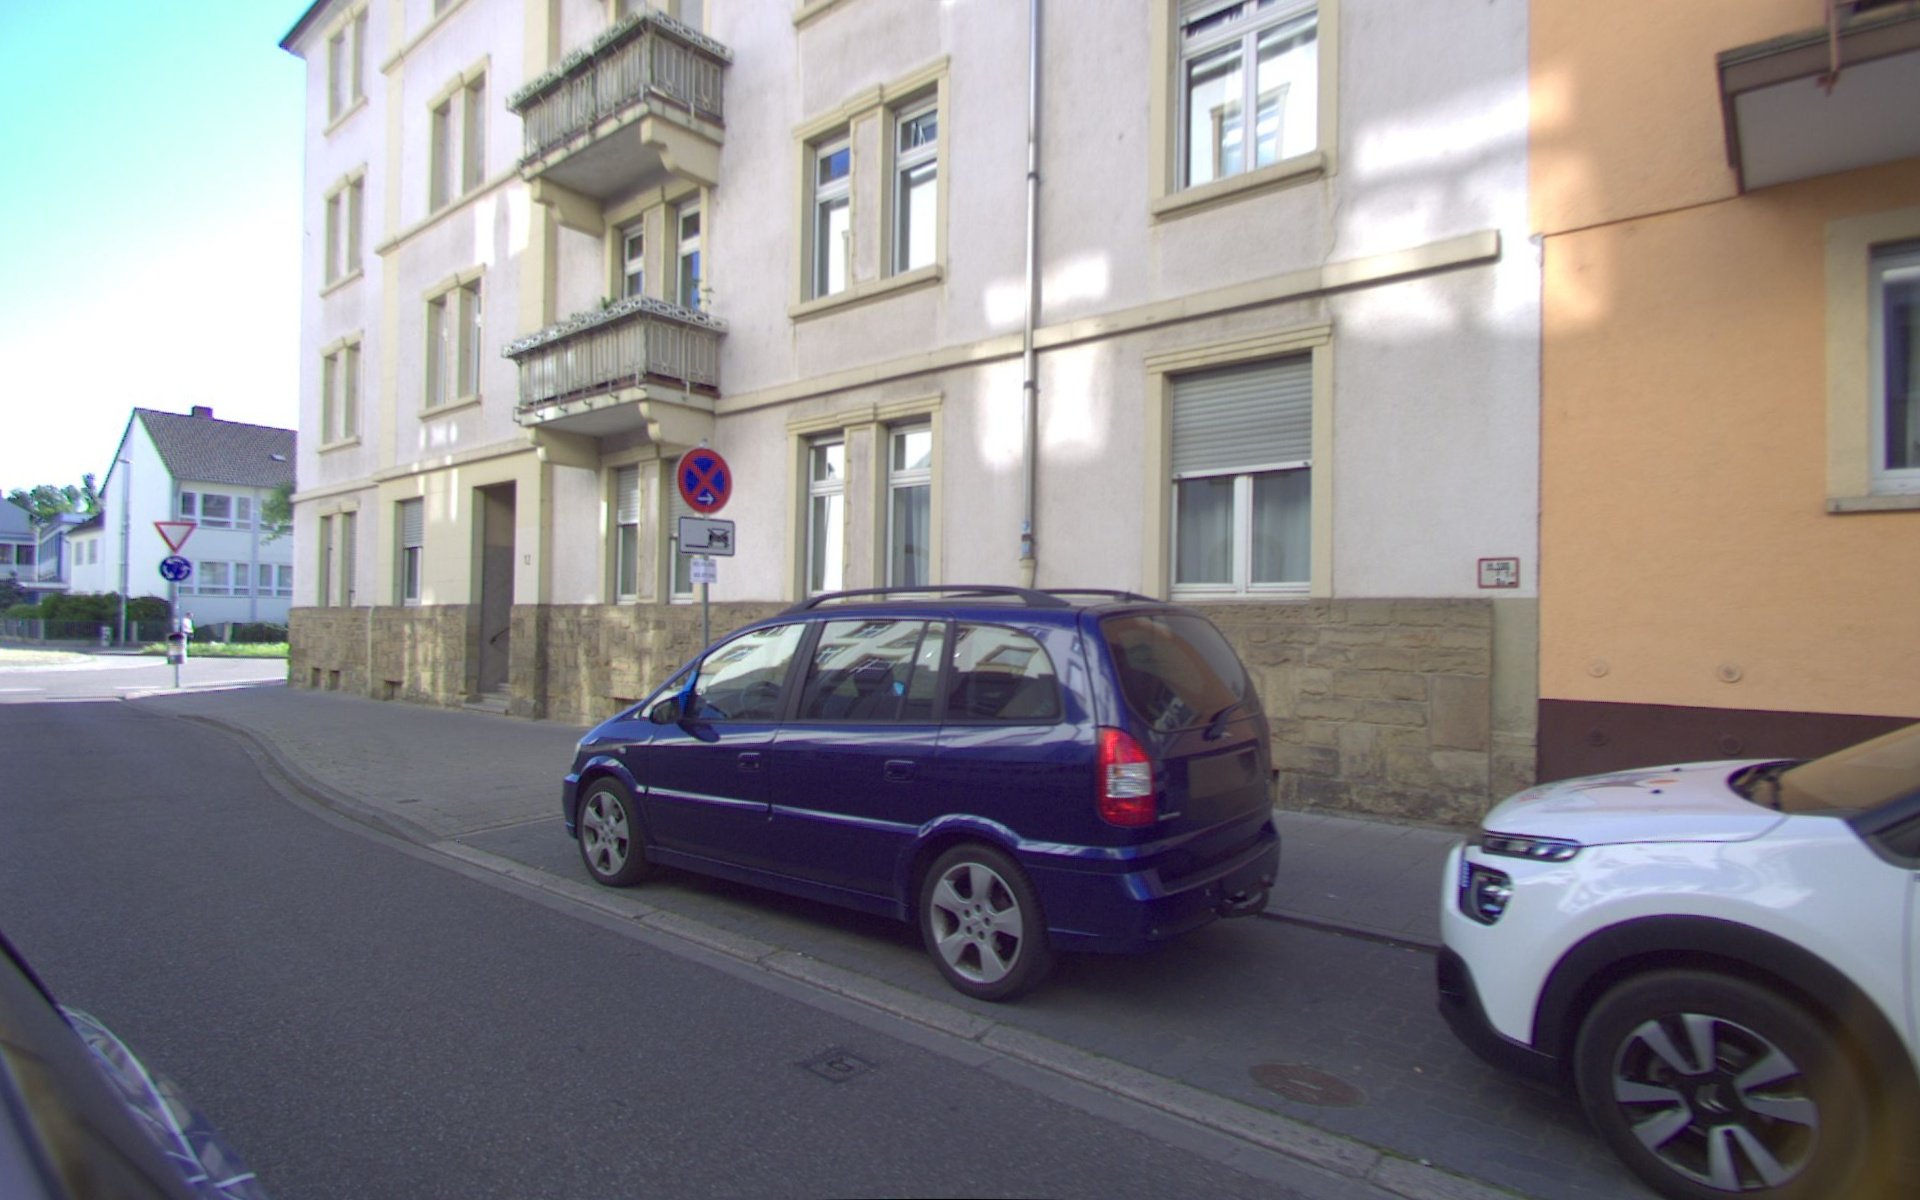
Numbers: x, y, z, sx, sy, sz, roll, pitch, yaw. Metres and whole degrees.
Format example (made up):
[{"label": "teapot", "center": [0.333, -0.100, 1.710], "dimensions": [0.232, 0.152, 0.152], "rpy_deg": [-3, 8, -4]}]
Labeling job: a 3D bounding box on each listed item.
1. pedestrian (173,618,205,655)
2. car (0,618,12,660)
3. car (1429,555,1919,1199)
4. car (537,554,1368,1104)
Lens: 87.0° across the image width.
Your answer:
[{"label": "pedestrian", "center": [-35.784, 1.701, 47.002], "dimensions": [0.980, 1.718, 0.694], "rpy_deg": [2, -3, -24]}, {"label": "car", "center": [-41.512, 1.582, 41.513], "dimensions": [4.235, 1.709, 1.871], "rpy_deg": [0, -4, 16]}, {"label": "car", "center": [3.551, 0.734, 2.219], "dimensions": [4.291, 1.633, 1.745], "rpy_deg": [-1, -3, 40]}, {"label": "car", "center": [-0.314, 0.811, 5.367], "dimensions": [4.290, 1.784, 1.745], "rpy_deg": [-1, -3, 40]}]
